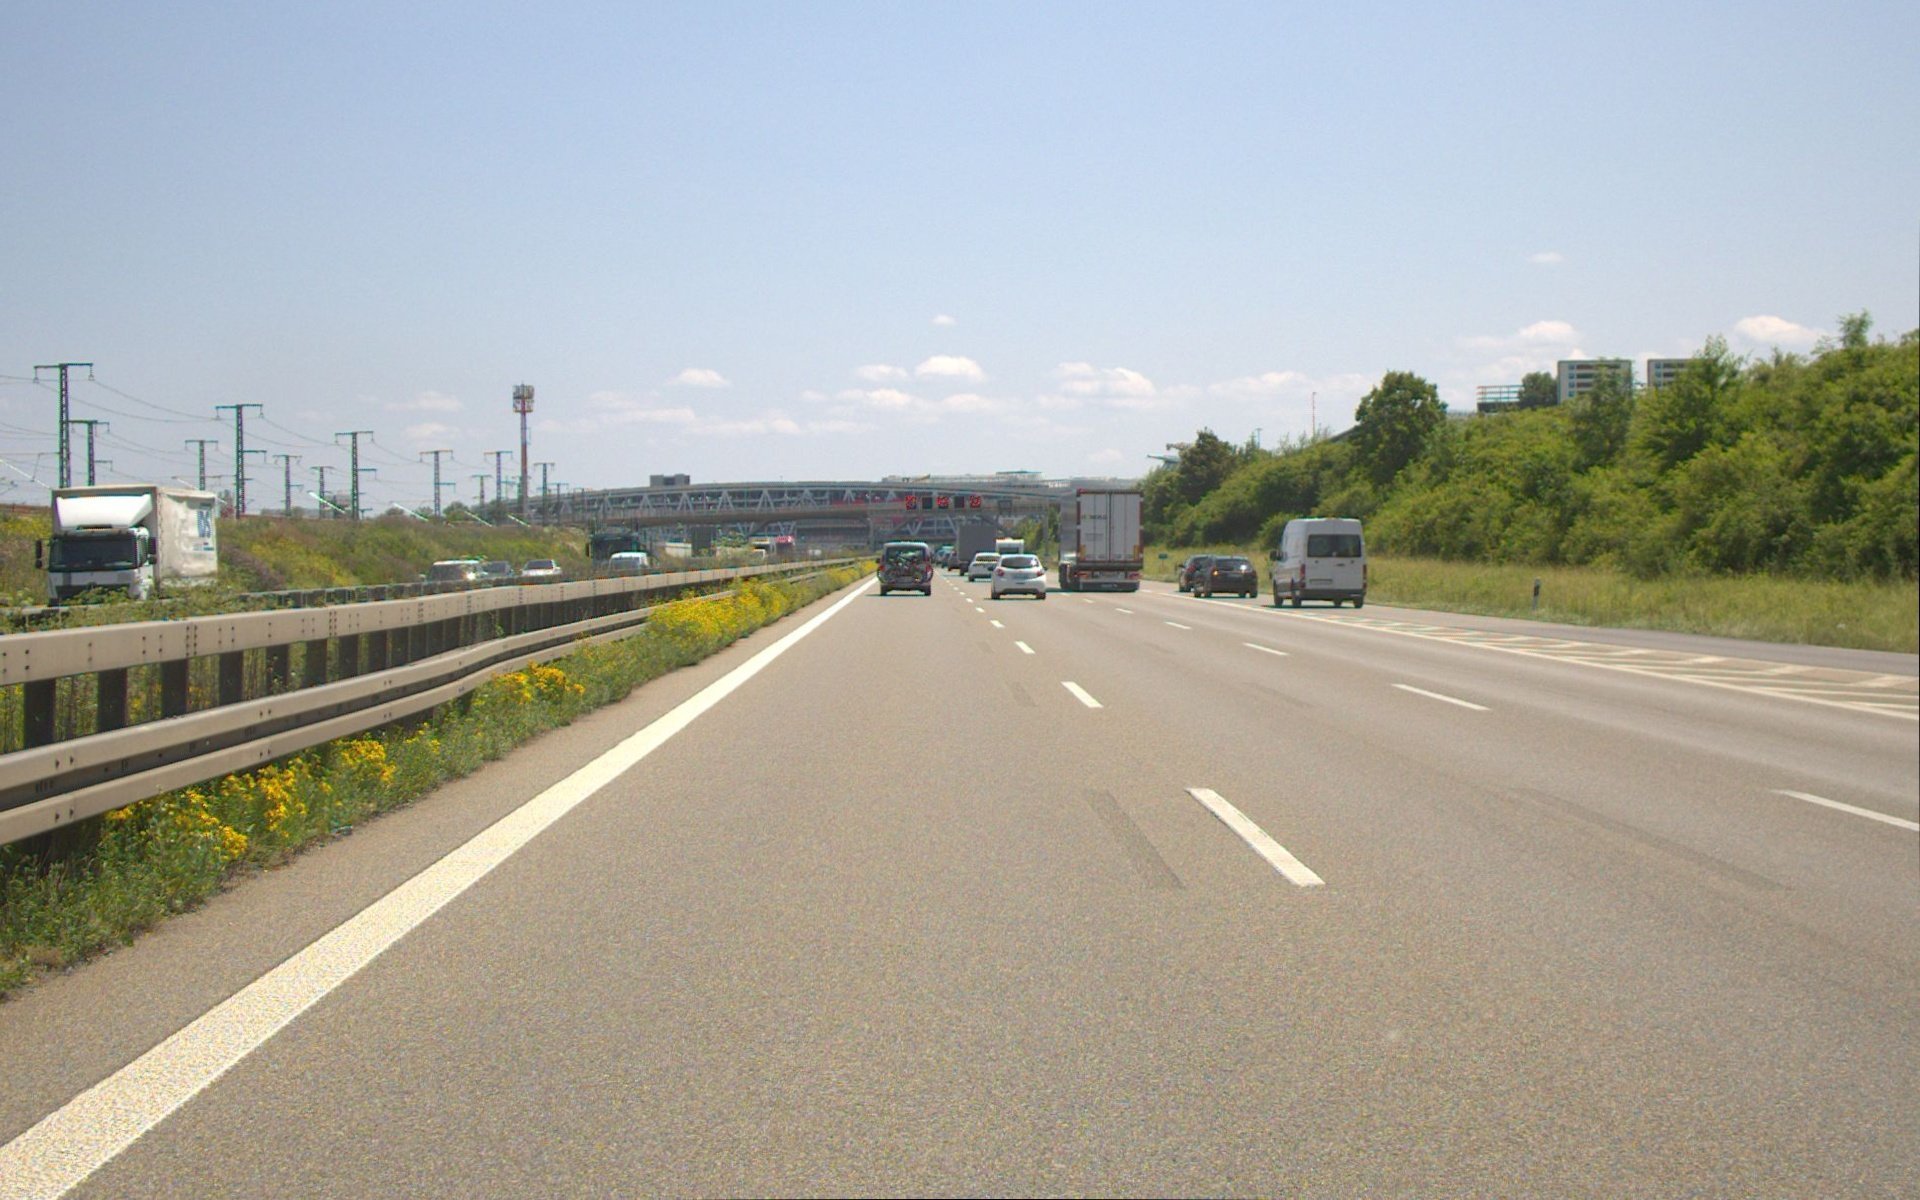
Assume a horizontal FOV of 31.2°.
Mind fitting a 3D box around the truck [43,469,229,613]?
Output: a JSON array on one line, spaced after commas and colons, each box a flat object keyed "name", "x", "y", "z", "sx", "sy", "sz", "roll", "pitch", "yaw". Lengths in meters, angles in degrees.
[{"name": "truck", "x": -21.007, "y": -1.506, "z": 88.070, "sx": 2.857, "sy": 3.455, "sz": 7.781, "roll": 2, "pitch": 1, "yaw": -1}]

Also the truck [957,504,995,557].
[{"name": "truck", "x": 1.035, "y": -4.506, "z": 222.979, "sx": 2.355, "sy": 3.404, "sz": 6.057, "roll": 0, "pitch": 1, "yaw": 0}]

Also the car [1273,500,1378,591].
[{"name": "car", "x": 10.516, "y": -1.572, "z": 99.358, "sx": 2.274, "sy": 2.519, "sz": 5.400, "roll": 1, "pitch": 1, "yaw": -2}]

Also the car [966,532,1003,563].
[{"name": "car", "x": 1.287, "y": -2.724, "z": 178.151, "sx": 1.881, "sy": 1.521, "sz": 4.000, "roll": 1, "pitch": 0, "yaw": 0}]

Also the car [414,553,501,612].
[{"name": "car", "x": -14.578, "y": -0.525, "z": 99.914, "sx": 1.920, "sy": 1.605, "sz": 4.000, "roll": -2, "pitch": 1, "yaw": -1}]

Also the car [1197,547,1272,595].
[{"name": "car", "x": 9.379, "y": -0.983, "z": 117.663, "sx": 1.993, "sy": 1.503, "sz": 4.000, "roll": 2, "pitch": -1, "yaw": -3}]

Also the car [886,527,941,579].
[{"name": "car", "x": -1.598, "y": -1.609, "z": 118.913, "sx": 1.880, "sy": 1.769, "sz": 4.000, "roll": 0, "pitch": 0, "yaw": 0}]

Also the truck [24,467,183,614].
[{"name": "truck", "x": -20.973, "y": -1.460, "z": 84.351, "sx": 2.848, "sy": 3.455, "sz": 4.023, "roll": 2, "pitch": 1, "yaw": -1}]

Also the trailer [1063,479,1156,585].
[{"name": "trailer", "x": 5.900, "y": -2.692, "z": 137.379, "sx": 3.177, "sy": 4.046, "sz": 9.440, "roll": -1, "pitch": 1, "yaw": 0}]

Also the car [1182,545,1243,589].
[{"name": "car", "x": 10.005, "y": -1.295, "z": 136.356, "sx": 1.993, "sy": 1.590, "sz": 4.000, "roll": 2, "pitch": -1, "yaw": -1}]

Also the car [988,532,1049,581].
[{"name": "car", "x": 1.926, "y": -1.399, "z": 111.706, "sx": 1.881, "sy": 1.521, "sz": 4.000, "roll": 1, "pitch": 0, "yaw": 2}]

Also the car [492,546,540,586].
[{"name": "car", "x": -23.822, "y": -1.823, "z": 184.693, "sx": 1.993, "sy": 2.007, "sz": 4.495, "roll": -2, "pitch": -1, "yaw": -1}]

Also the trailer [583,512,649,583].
[{"name": "trailer", "x": -18.911, "y": -2.896, "z": 189.516, "sx": 3.050, "sy": 3.854, "sz": 7.204, "roll": 0, "pitch": 1, "yaw": -1}]

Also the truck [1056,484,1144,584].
[{"name": "truck", "x": 5.834, "y": -2.773, "z": 144.819, "sx": 3.177, "sy": 4.046, "sz": 9.440, "roll": -1, "pitch": 1, "yaw": 0}]
